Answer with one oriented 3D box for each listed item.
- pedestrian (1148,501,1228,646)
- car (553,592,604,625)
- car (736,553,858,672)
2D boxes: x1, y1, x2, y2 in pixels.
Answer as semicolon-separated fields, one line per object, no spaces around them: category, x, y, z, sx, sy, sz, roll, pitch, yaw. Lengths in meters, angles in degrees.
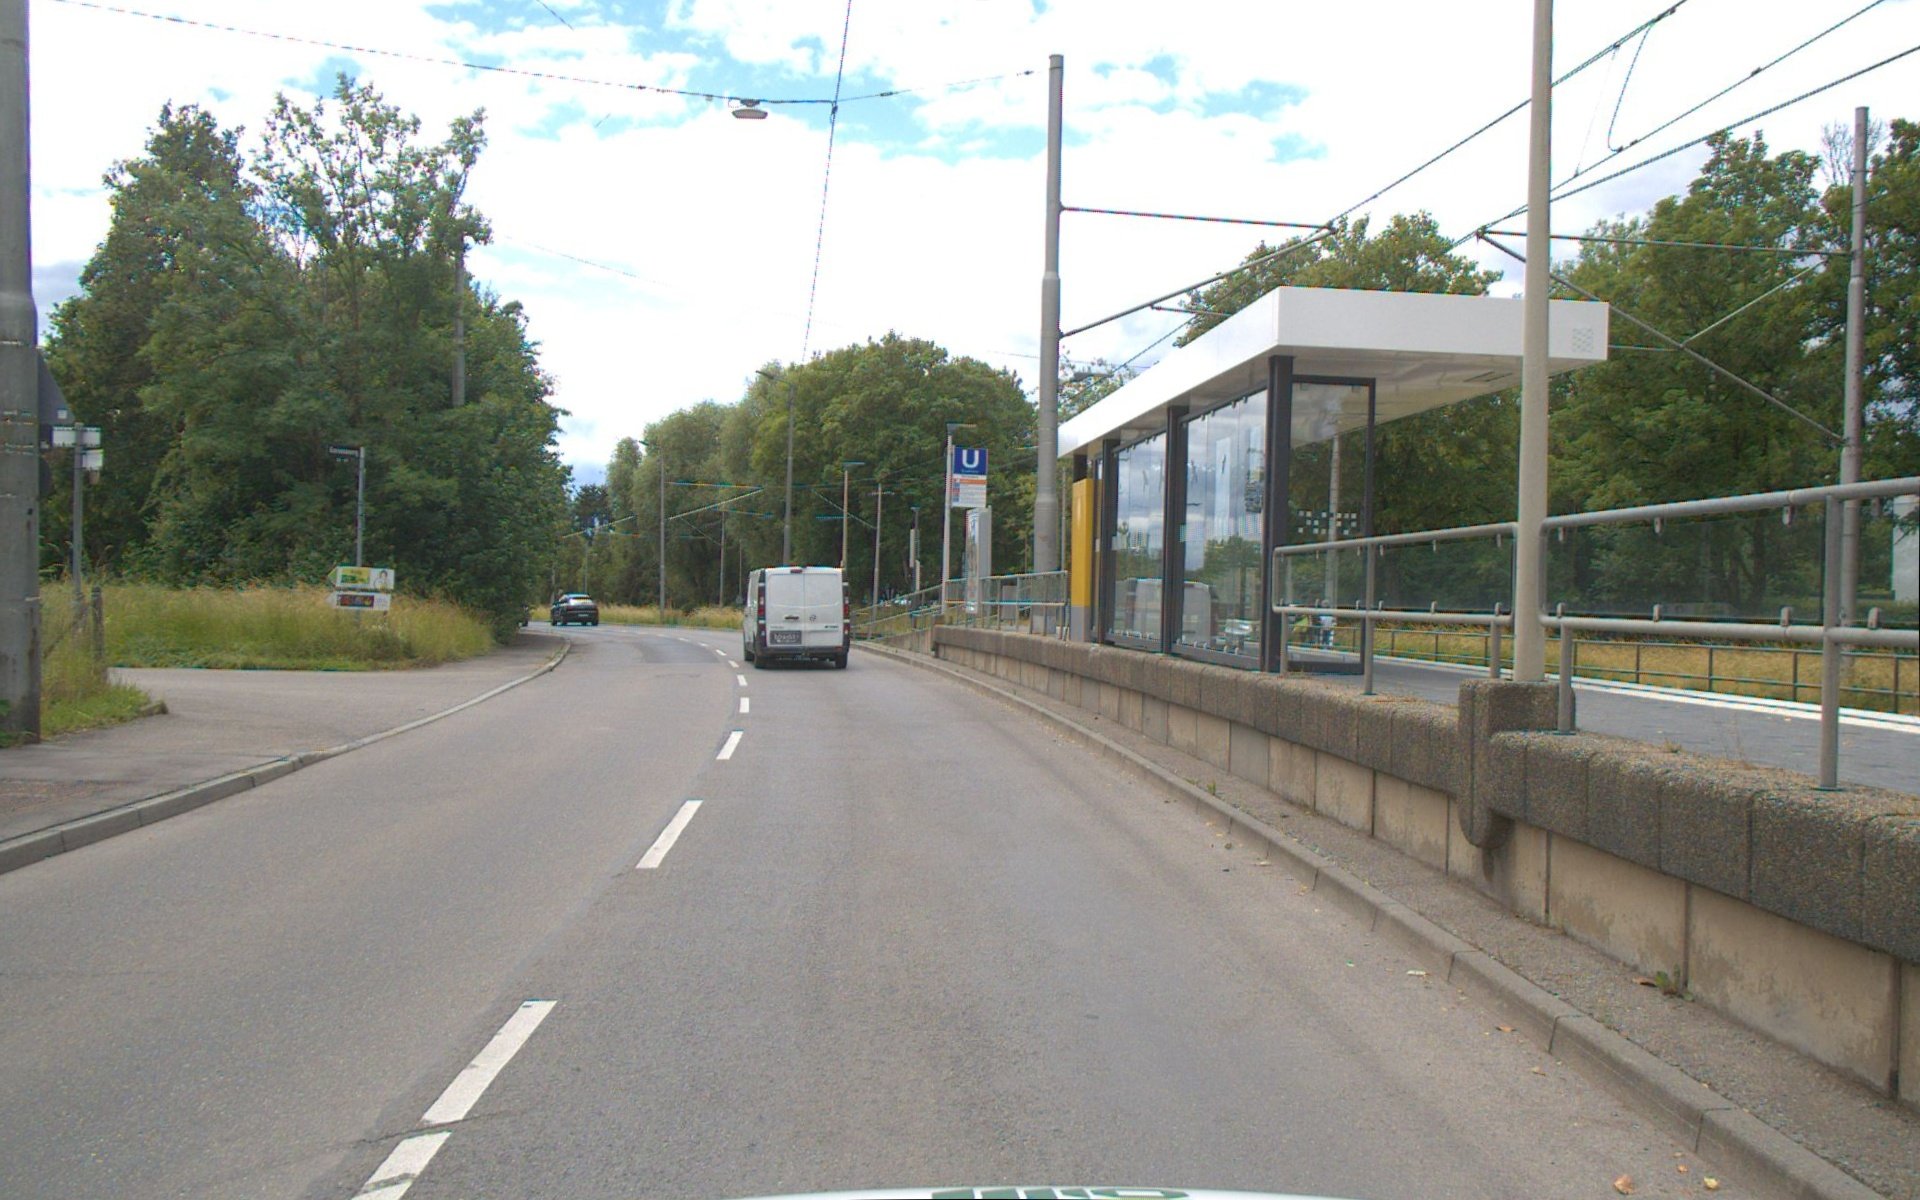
pedestrian;2.294;-0.269;16.697;0.626;1.429;0.764;0;1;-5
car;-20.295;0.447;87.948;2.318;1.591;4.352;3;0;-17
car;-3.432;0.236;33.909;2.078;2.171;5.429;2;0;-9
